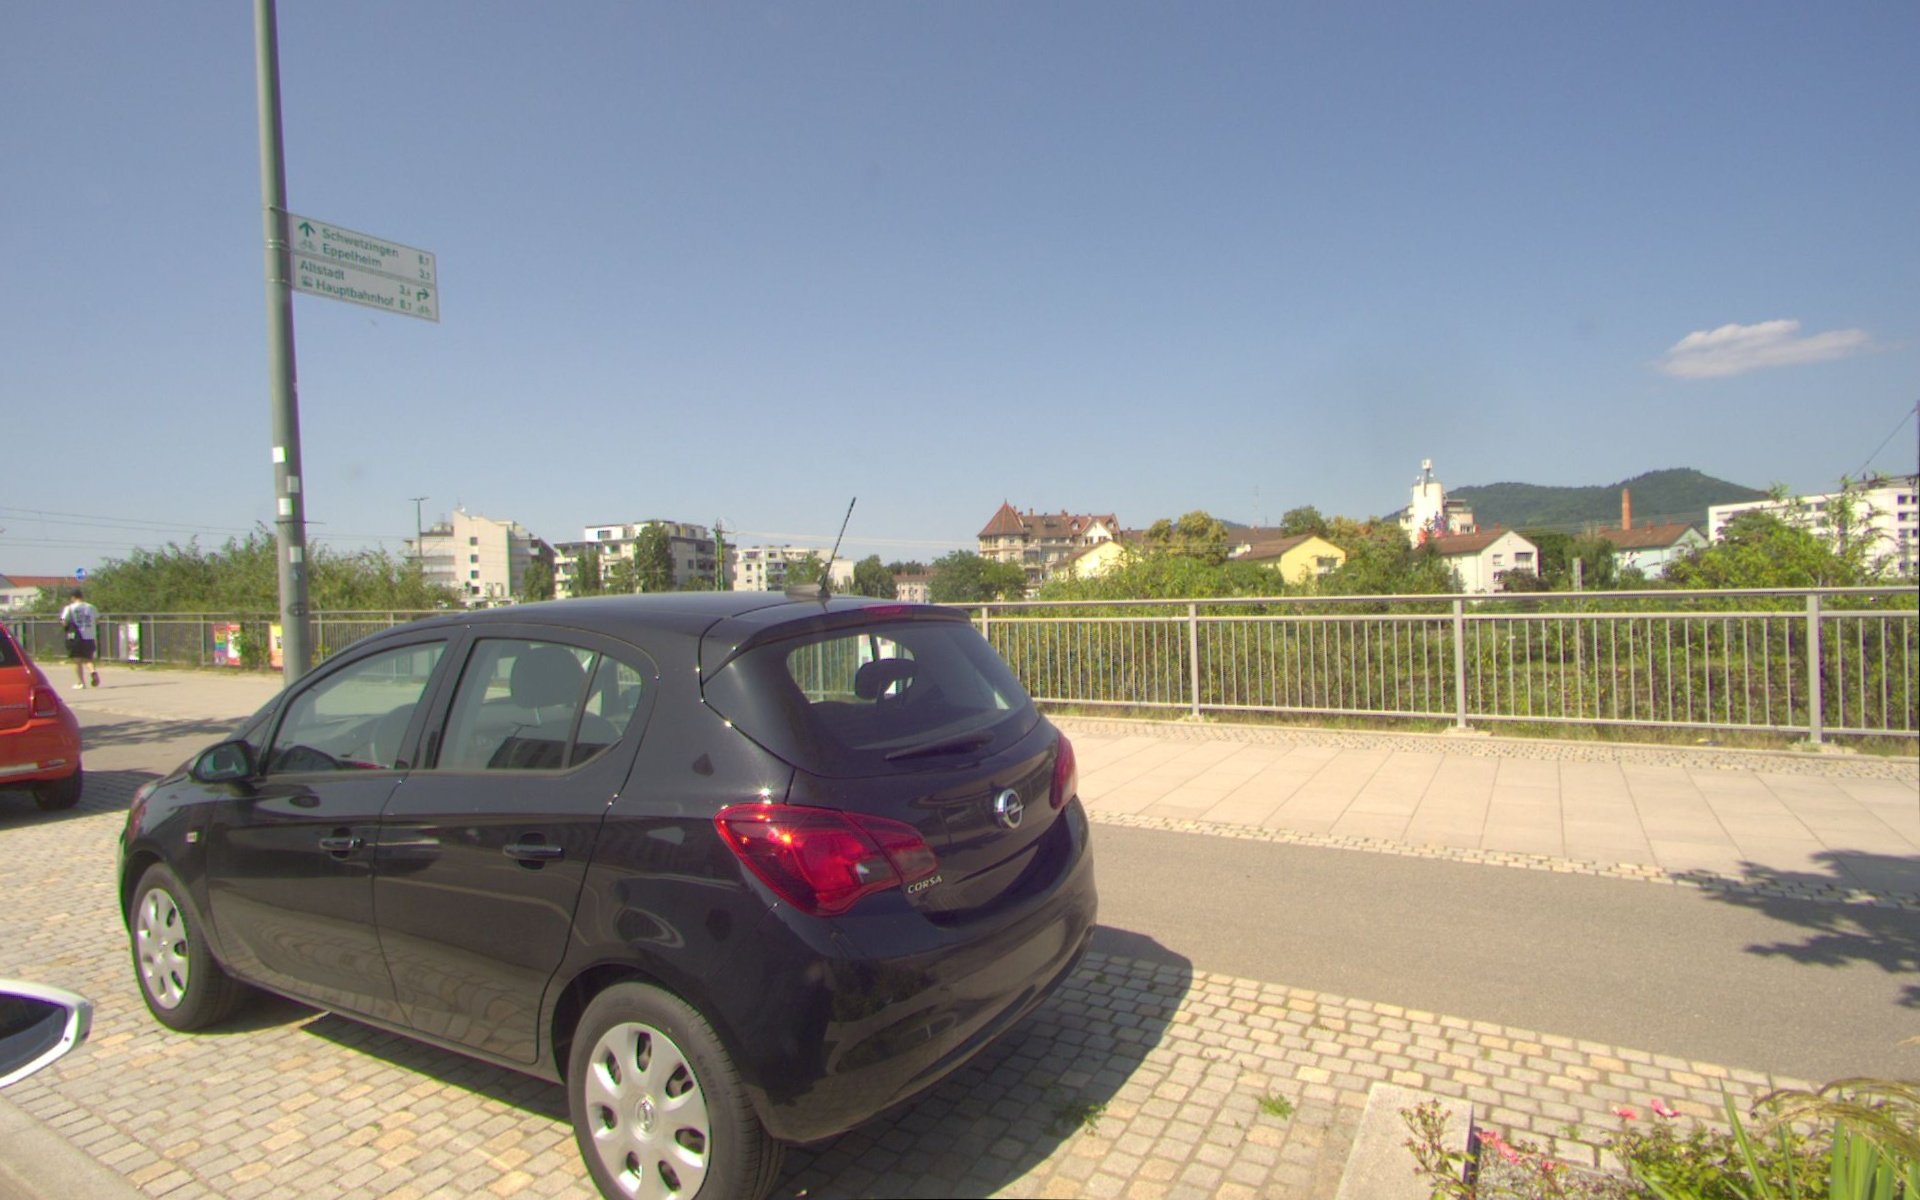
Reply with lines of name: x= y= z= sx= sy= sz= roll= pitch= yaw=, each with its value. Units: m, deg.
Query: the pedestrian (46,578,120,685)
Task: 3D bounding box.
pedestrian: x=-15.588 y=0.565 z=17.805 sx=0.872 sy=1.853 sz=0.757 roll=-1 pitch=-2 yaw=32

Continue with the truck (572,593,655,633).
truck: x=-29.524 y=1.195 z=85.656 sx=3.672 sy=3.244 sz=6.485 roll=-1 pitch=-2 yaw=17

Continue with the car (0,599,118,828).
car: x=-8.361 y=0.792 z=7.754 sx=3.859 sy=1.561 sz=1.666 roll=0 pitch=2 yaw=32

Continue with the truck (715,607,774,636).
truck: x=-25.399 y=2.585 z=118.509 sx=2.459 sy=3.197 sz=9.899 roll=-1 pitch=-2 yaw=16

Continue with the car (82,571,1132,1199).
car: x=-1.344 y=0.741 z=3.497 sx=3.495 sy=1.577 sz=1.577 roll=-1 pitch=2 yaw=32

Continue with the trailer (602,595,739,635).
trailer: x=-26.817 y=1.565 z=94.564 sx=3.674 sy=3.243 sz=17.244 roll=-1 pitch=-3 yaw=17

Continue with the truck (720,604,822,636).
truck: x=-21.166 y=2.395 z=114.183 sx=3.674 sy=3.243 sz=17.876 roll=-1 pitch=-3 yaw=17
